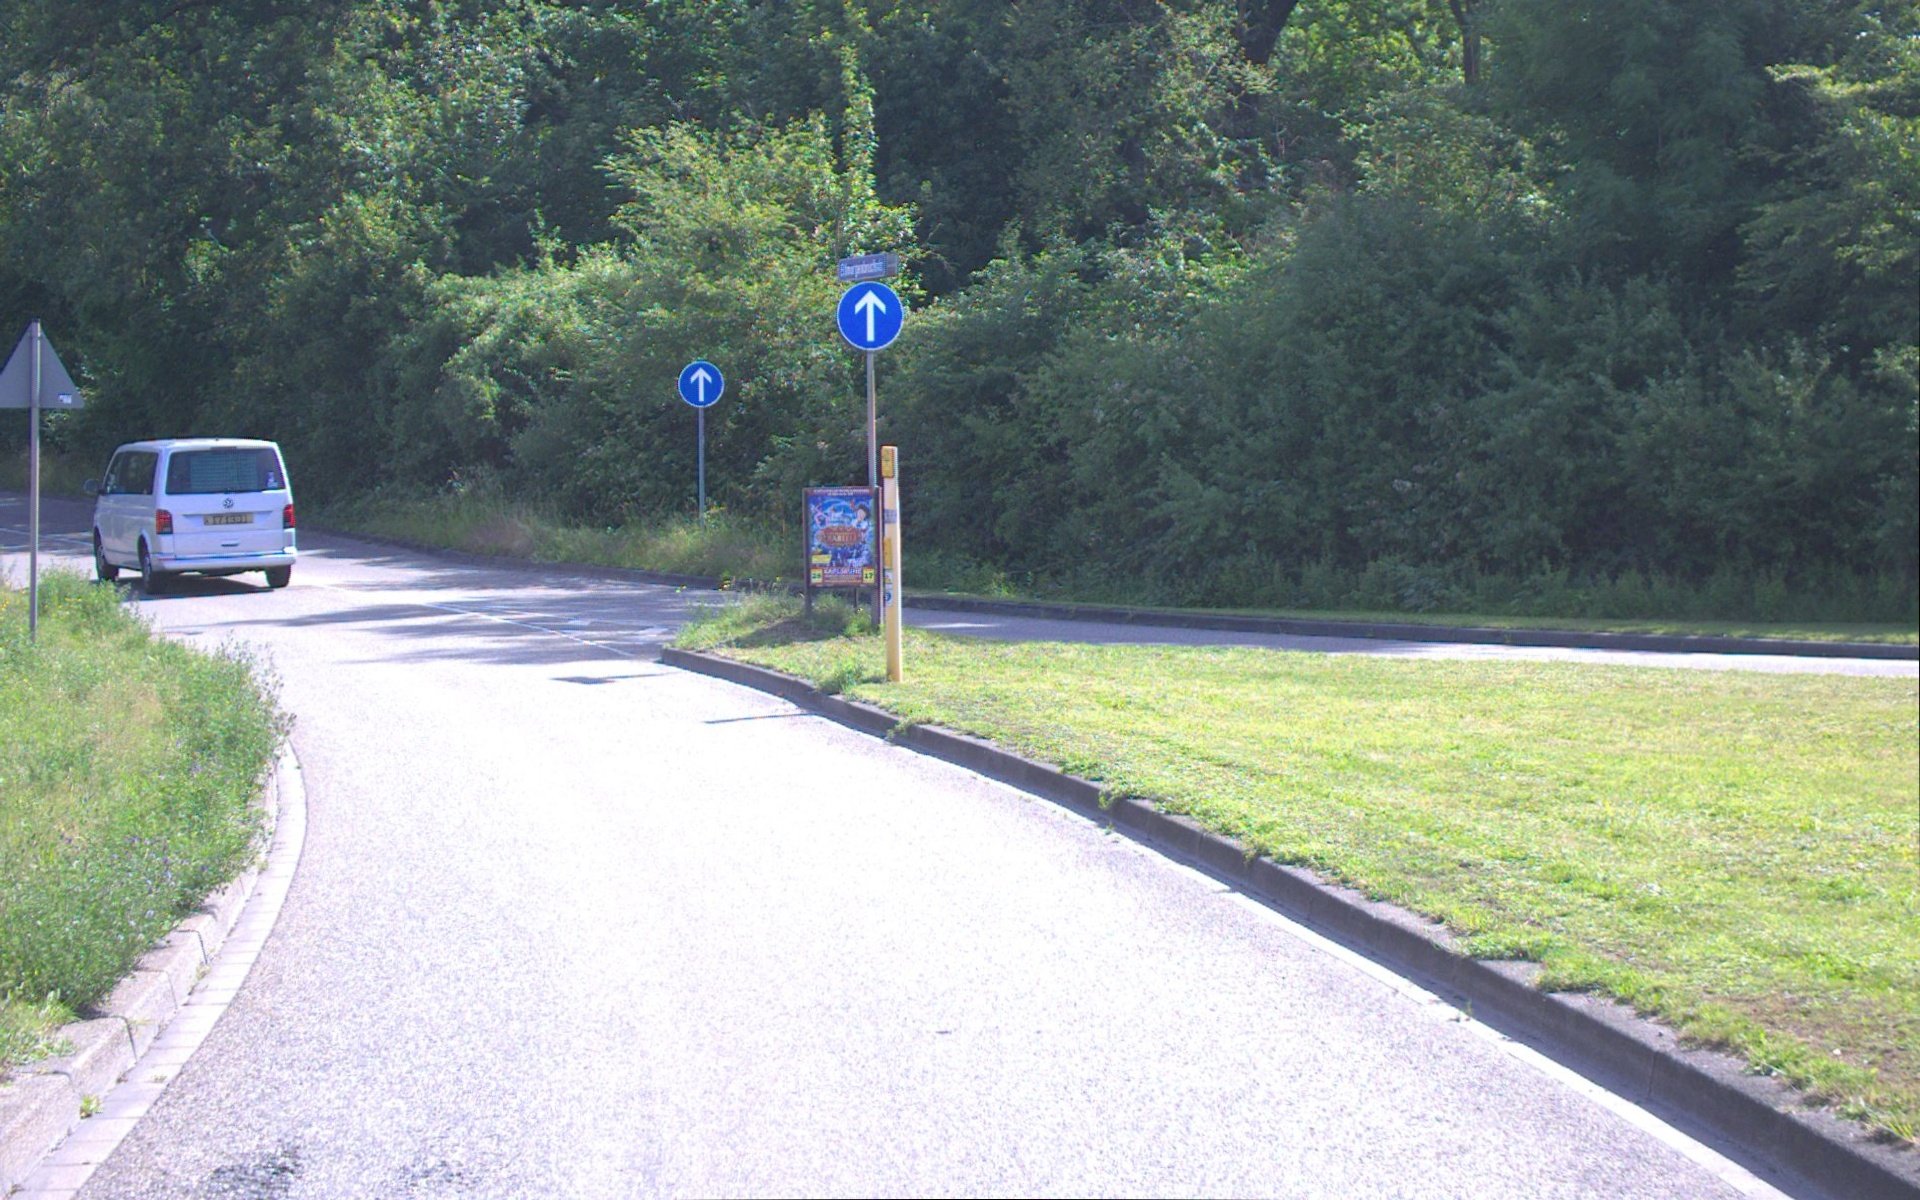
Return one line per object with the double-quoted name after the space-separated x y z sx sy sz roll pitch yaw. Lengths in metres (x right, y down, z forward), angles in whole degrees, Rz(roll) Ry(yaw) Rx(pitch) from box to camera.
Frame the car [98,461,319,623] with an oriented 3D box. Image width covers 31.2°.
-9.990 -0.794 45.503 2.039 2.006 4.001 -2 2 -24 "car"
